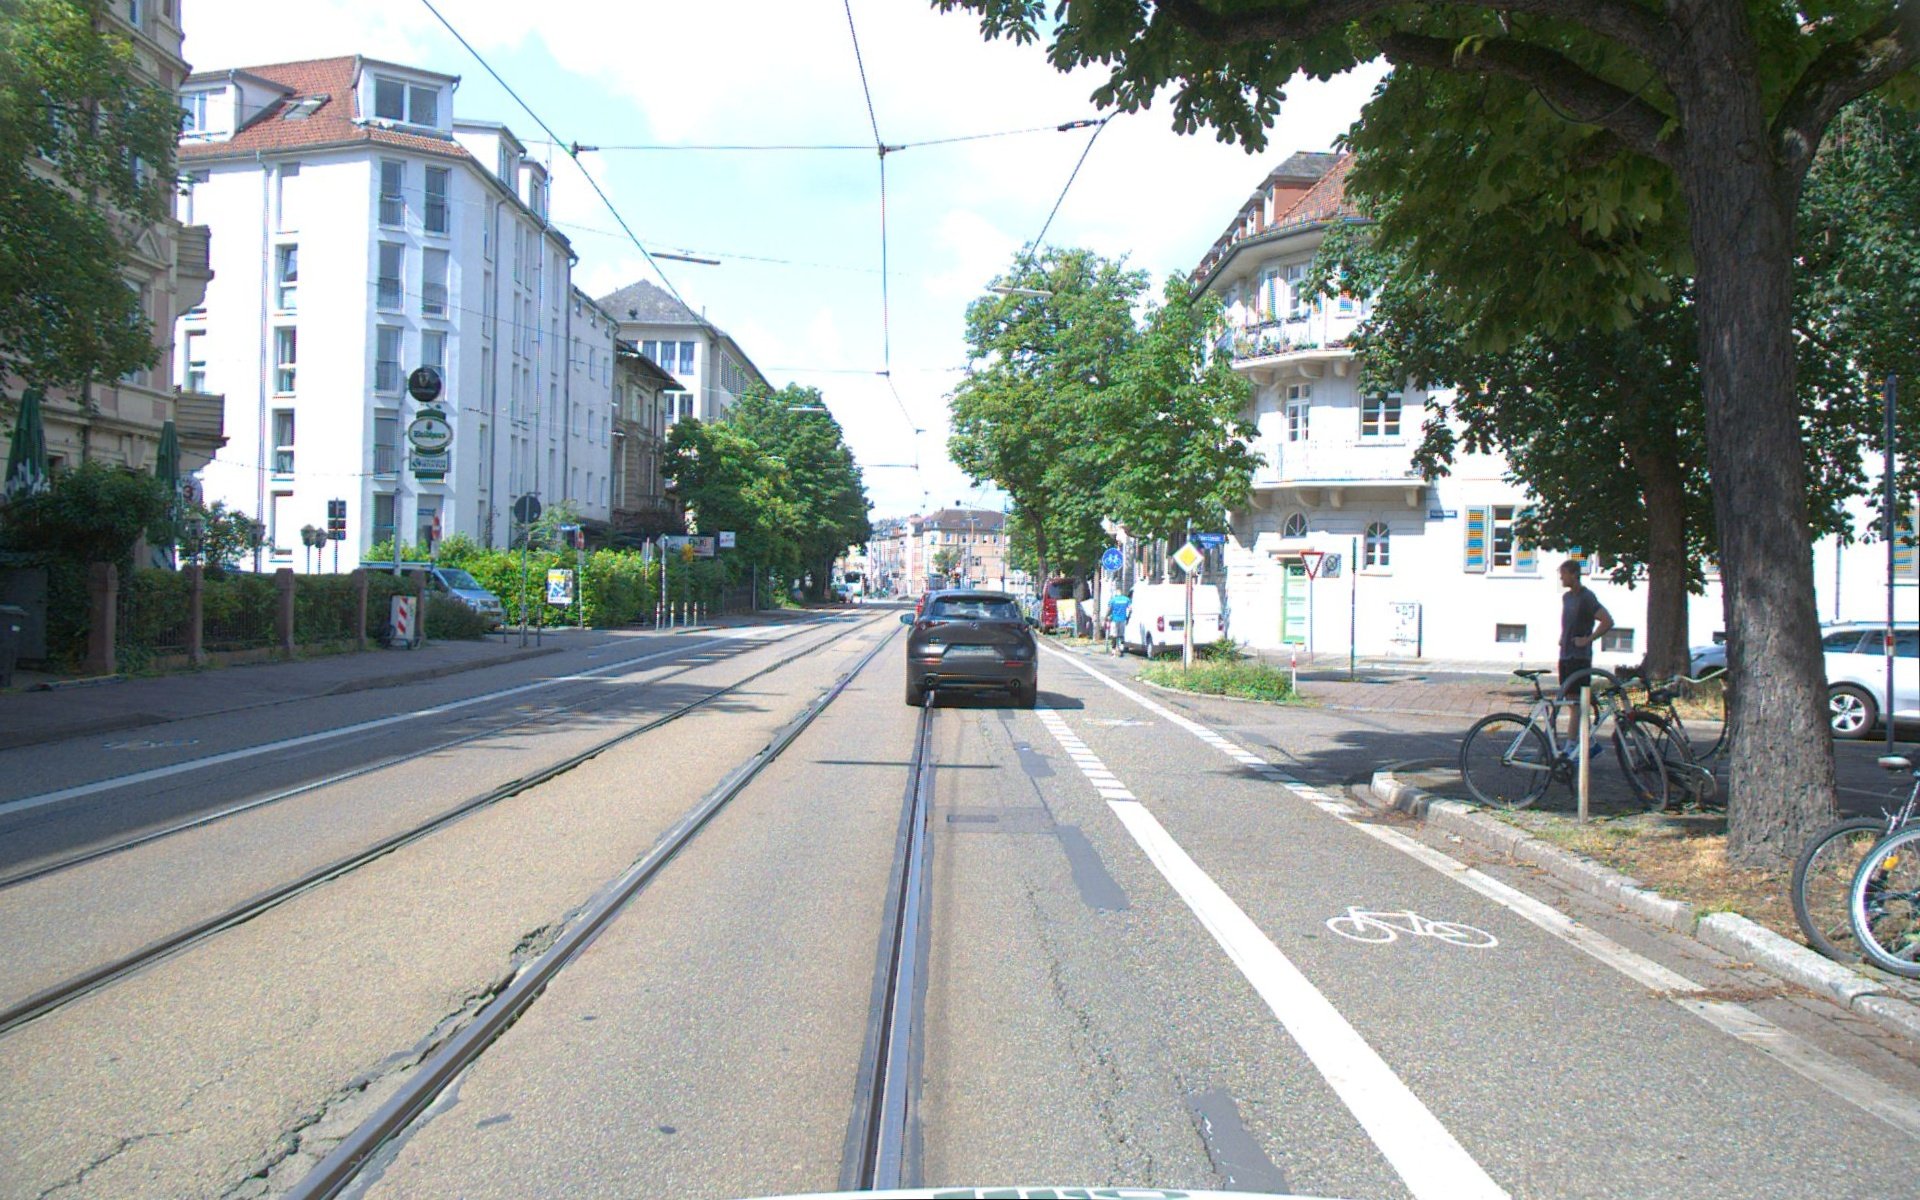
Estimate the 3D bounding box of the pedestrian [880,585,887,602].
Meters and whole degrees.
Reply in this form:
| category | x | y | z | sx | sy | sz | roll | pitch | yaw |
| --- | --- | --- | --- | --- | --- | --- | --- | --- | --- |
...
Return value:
| category | x | y | z | sx | sy | sz | roll | pitch | yaw |
| --- | --- | --- | --- | --- | --- | --- | --- | --- | --- |
| pedestrian | -9.174 | -0.779 | 198.670 | 0.867 | 2.049 | 0.617 | 1 | 0 | -5 |

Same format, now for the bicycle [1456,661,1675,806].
| category | x | y | z | sx | sy | sz | roll | pitch | yaw |
| --- | --- | --- | --- | --- | --- | --- | --- | --- | --- |
| bicycle | 4.320 | 0.947 | 11.825 | 1.460 | 1.000 | 0.259 | 1 | 0 | 1 |

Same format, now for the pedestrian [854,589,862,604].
| category | x | y | z | sx | sy | sz | roll | pitch | yaw |
| --- | --- | --- | --- | --- | --- | --- | --- | --- | --- |
| pedestrian | -10.733 | -0.359 | 174.285 | 0.736 | 1.537 | 0.823 | 1 | 0 | -5 |

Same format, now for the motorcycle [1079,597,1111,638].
| category | x | y | z | sx | sy | sz | roll | pitch | yaw |
| --- | --- | --- | --- | --- | --- | --- | --- | --- | --- |
| motorcycle | 4.371 | 0.556 | 53.703 | 0.778 | 1.293 | 2.422 | 1 | 0 | -1 |

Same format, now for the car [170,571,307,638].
| category | x | y | z | sx | sy | sz | roll | pitch | yaw |
| --- | --- | --- | --- | --- | --- | --- | --- | --- | --- |
| car | -18.170 | 0.098 | 41.777 | 1.360 | 1.594 | 3.186 | 1 | 0 | 18 |

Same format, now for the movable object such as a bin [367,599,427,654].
| category | x | y | z | sx | sy | sz | roll | pitch | yaw |
| --- | --- | --- | --- | --- | --- | --- | --- | --- | --- |
| movable object such as a bin | -10.954 | 0.498 | 32.217 | 0.730 | 1.005 | 1.114 | 3 | 0 | -1 |

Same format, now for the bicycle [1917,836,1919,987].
| category | x | y | z | sx | sy | sz | roll | pitch | yaw |
| --- | --- | --- | --- | --- | --- | --- | --- | --- | --- |
| bicycle | 4.692 | 0.989 | 6.291 | 1.864 | 1.091 | 0.402 | 1 | 0 | -1 |

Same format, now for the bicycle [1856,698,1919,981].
| category | x | y | z | sx | sy | sz | roll | pitch | yaw |
| --- | --- | --- | --- | --- | --- | --- | --- | --- | --- |
| bicycle | 4.689 | 0.977 | 6.722 | 1.864 | 1.091 | 0.402 | 1 | 0 | -1 |

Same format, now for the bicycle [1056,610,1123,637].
| category | x | y | z | sx | sy | sz | roll | pitch | yaw |
| --- | --- | --- | --- | --- | --- | --- | --- | --- | --- |
| bicycle | 4.462 | 0.811 | 57.145 | 2.229 | 0.876 | 0.671 | 1 | 0 | -2 |

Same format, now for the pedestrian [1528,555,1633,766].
| category | x | y | z | sx | sy | sz | roll | pitch | yaw |
| --- | --- | --- | --- | --- | --- | --- | --- | --- | --- |
| pedestrian | 5.693 | 0.552 | 15.206 | 0.598 | 1.868 | 0.878 | 1 | -2 | -3 |

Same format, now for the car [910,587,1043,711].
| category | x | y | z | sx | sy | sz | roll | pitch | yaw |
| --- | --- | --- | --- | --- | --- | --- | --- | --- | --- |
| car | 0.178 | 0.622 | 23.022 | 1.686 | 1.553 | 3.588 | 1 | 0 | -1 |

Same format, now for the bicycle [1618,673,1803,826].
| category | x | y | z | sx | sy | sz | roll | pitch | yaw |
| --- | --- | --- | --- | --- | --- | --- | --- | --- | --- |
| bicycle | 5.247 | 1.013 | 11.671 | 0.253 | 0.916 | 1.769 | 1 | 0 | -9 |

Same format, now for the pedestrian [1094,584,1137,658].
| category | x | y | z | sx | sy | sz | roll | pitch | yaw |
| --- | --- | --- | --- | --- | --- | --- | --- | --- | --- |
| pedestrian | 4.026 | 0.534 | 42.782 | 0.799 | 1.868 | 0.961 | 2 | 1 | 25 |

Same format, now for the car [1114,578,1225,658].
| category | x | y | z | sx | sy | sz | roll | pitch | yaw |
| --- | --- | --- | --- | --- | --- | --- | --- | --- | --- |
| car | 5.499 | 0.416 | 44.069 | 1.753 | 1.972 | 4.984 | 1 | 1 | -7 |

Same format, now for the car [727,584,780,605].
| category | x | y | z | sx | sy | sz | roll | pitch | yaw |
| --- | --- | --- | --- | --- | --- | --- | --- | --- | --- |
| car | -14.935 | -0.391 | 119.890 | 3.674 | 1.309 | 1.609 | 4 | 0 | -5 |

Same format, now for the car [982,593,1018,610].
| category | x | y | z | sx | sy | sz | roll | pitch | yaw |
| --- | --- | --- | --- | --- | --- | --- | --- | --- | --- |
| car | 4.500 | 0.121 | 185.760 | 3.749 | 1.646 | 1.629 | 4 | 0 | -19 |

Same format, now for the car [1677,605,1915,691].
| category | x | y | z | sx | sy | sz | roll | pitch | yaw |
| --- | --- | --- | --- | --- | --- | --- | --- | --- | --- |
| car | 15.764 | 0.884 | 31.312 | 3.910 | 1.435 | 1.650 | 1 | -1 | 27 |

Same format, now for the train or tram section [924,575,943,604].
| category | x | y | z | sx | sy | sz | roll | pitch | yaw |
| --- | --- | --- | --- | --- | --- | --- | --- | --- | --- |
| train or tram section | -3.653 | -1.489 | 232.941 | 2.519 | 3.838 | 13.025 | 1 | 0 | 0 |

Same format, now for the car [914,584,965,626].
| category | x | y | z | sx | sy | sz | roll | pitch | yaw |
| --- | --- | --- | --- | --- | --- | --- | --- | --- | --- |
| car | -0.842 | 0.184 | 67.675 | 1.953 | 1.555 | 3.999 | 3 | 0 | -1 |

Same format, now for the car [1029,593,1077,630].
| category | x | y | z | sx | sy | sz | roll | pitch | yaw |
| --- | --- | --- | --- | --- | --- | --- | --- | --- | --- |
| car | 3.829 | 0.448 | 68.737 | 1.686 | 1.449 | 3.588 | 1 | 0 | -1 |

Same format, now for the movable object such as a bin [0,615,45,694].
| category | x | y | z | sx | sy | sz | roll | pitch | yaw |
| --- | --- | --- | --- | --- | --- | --- | --- | --- | --- |
| movable object such as a bin | -11.237 | 0.633 | 19.485 | 0.551 | 0.891 | 0.616 | 1 | 0 | -1 |

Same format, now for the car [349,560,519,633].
| category | x | y | z | sx | sy | sz | roll | pitch | yaw |
| --- | --- | --- | --- | --- | --- | --- | --- | --- | --- |
| car | -15.837 | -0.112 | 49.805 | 4.566 | 2.049 | 2.046 | 1 | 0 | 21 |

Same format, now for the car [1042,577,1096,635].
| category | x | y | z | sx | sy | sz | roll | pitch | yaw |
| --- | --- | --- | --- | --- | --- | --- | --- | --- | --- |
| car | 3.976 | 0.196 | 60.943 | 1.685 | 2.003 | 4.207 | 1 | 0 | 0 |

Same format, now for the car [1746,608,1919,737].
| category | x | y | z | sx | sy | sz | roll | pitch | yaw |
| --- | --- | --- | --- | --- | --- | --- | --- | --- | --- |
| car | 12.331 | 0.932 | 20.697 | 4.471 | 1.502 | 1.867 | 2 | -1 | 27 |

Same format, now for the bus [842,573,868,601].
| category | x | y | z | sx | sy | sz | roll | pitch | yaw |
| --- | --- | --- | --- | --- | --- | --- | --- | --- | --- |
| bus | -14.027 | -1.800 | 220.209 | 2.637 | 3.480 | 11.002 | 3 | 0 | -7 |

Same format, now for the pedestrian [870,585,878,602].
| category | x | y | z | sx | sy | sz | roll | pitch | yaw |
| --- | --- | --- | --- | --- | --- | --- | --- | --- | --- |
| pedestrian | -10.343 | -0.756 | 198.735 | 0.867 | 2.049 | 0.617 | 1 | 0 | -5 |

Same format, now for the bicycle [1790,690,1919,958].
| category | x | y | z | sx | sy | sz | roll | pitch | yaw |
| --- | --- | --- | --- | --- | --- | --- | --- | --- | --- |
| bicycle | 4.628 | 0.970 | 7.150 | 1.864 | 1.091 | 0.402 | 1 | 0 | -1 |
